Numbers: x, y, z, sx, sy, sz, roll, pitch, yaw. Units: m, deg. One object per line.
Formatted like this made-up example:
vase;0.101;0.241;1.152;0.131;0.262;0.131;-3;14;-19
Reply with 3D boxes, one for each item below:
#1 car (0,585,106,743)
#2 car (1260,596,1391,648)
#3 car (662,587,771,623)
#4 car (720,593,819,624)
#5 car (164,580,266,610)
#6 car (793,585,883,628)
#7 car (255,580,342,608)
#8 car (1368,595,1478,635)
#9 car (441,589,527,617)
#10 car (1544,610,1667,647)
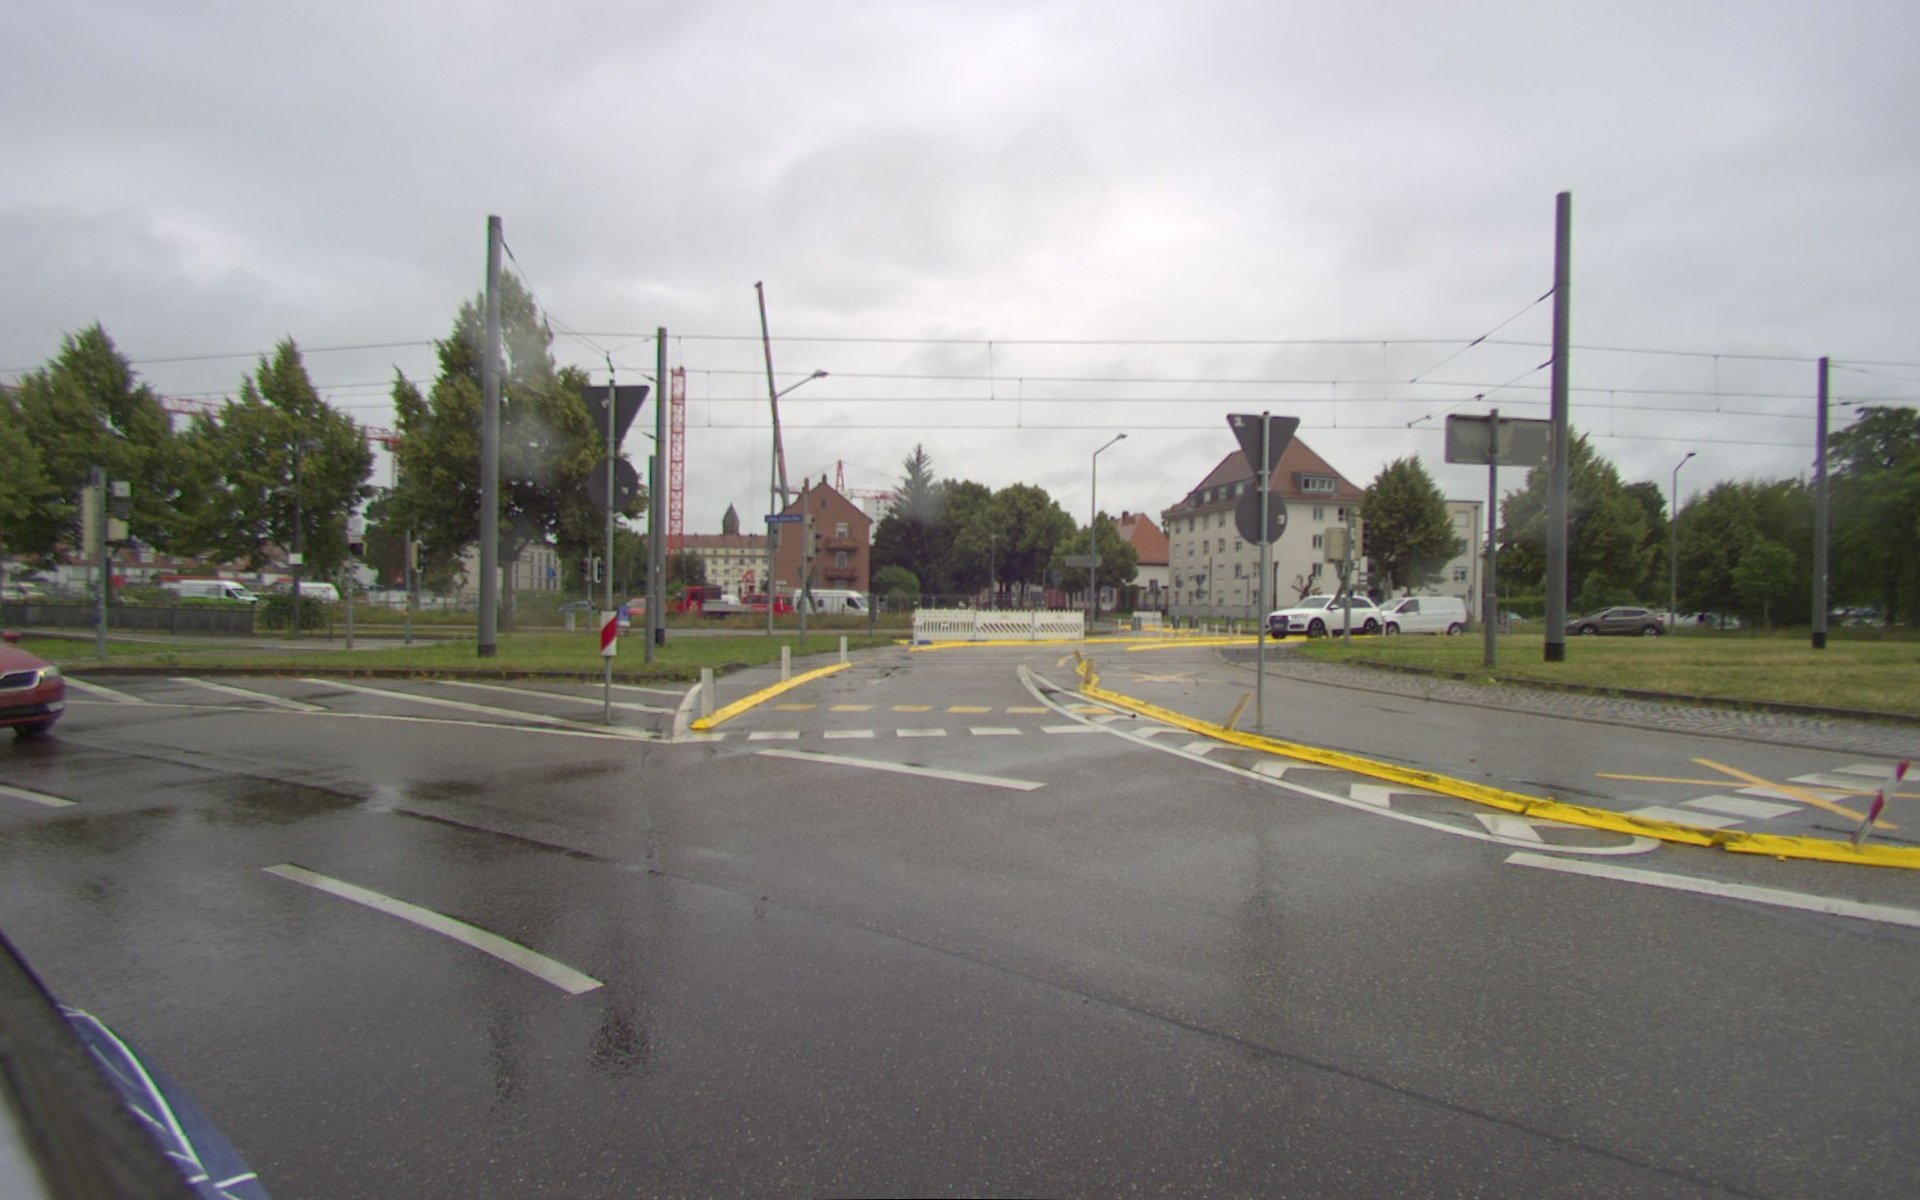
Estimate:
car;-11.196;0.589;10.401;4.281;1.470;1.778;1;2;19
car;13.738;0.770;37.968;4.782;1.757;1.784;-1;2;-27
car;-15.120;0.276;62.784;6.380;2.028;2.341;1;2;20
car;-13.004;0.530;69.139;6.380;2.029;2.341;0;0;20
car;-65.190;-0.462;88.624;7.544;2.495;2.353;1;2;6
car;-9.082;0.419;75.368;6.380;2.961;2.341;1;2;20
car;-61.990;-0.592;94.856;6.752;2.495;2.497;1;2;6
car;20.897;0.665;45.724;4.101;1.736;1.838;0;2;-6
car;-43.729;0.279;93.120;6.733;2.495;2.359;1;0;-4
car;30.012;1.315;47.205;4.502;1.503;1.606;1;2;12
